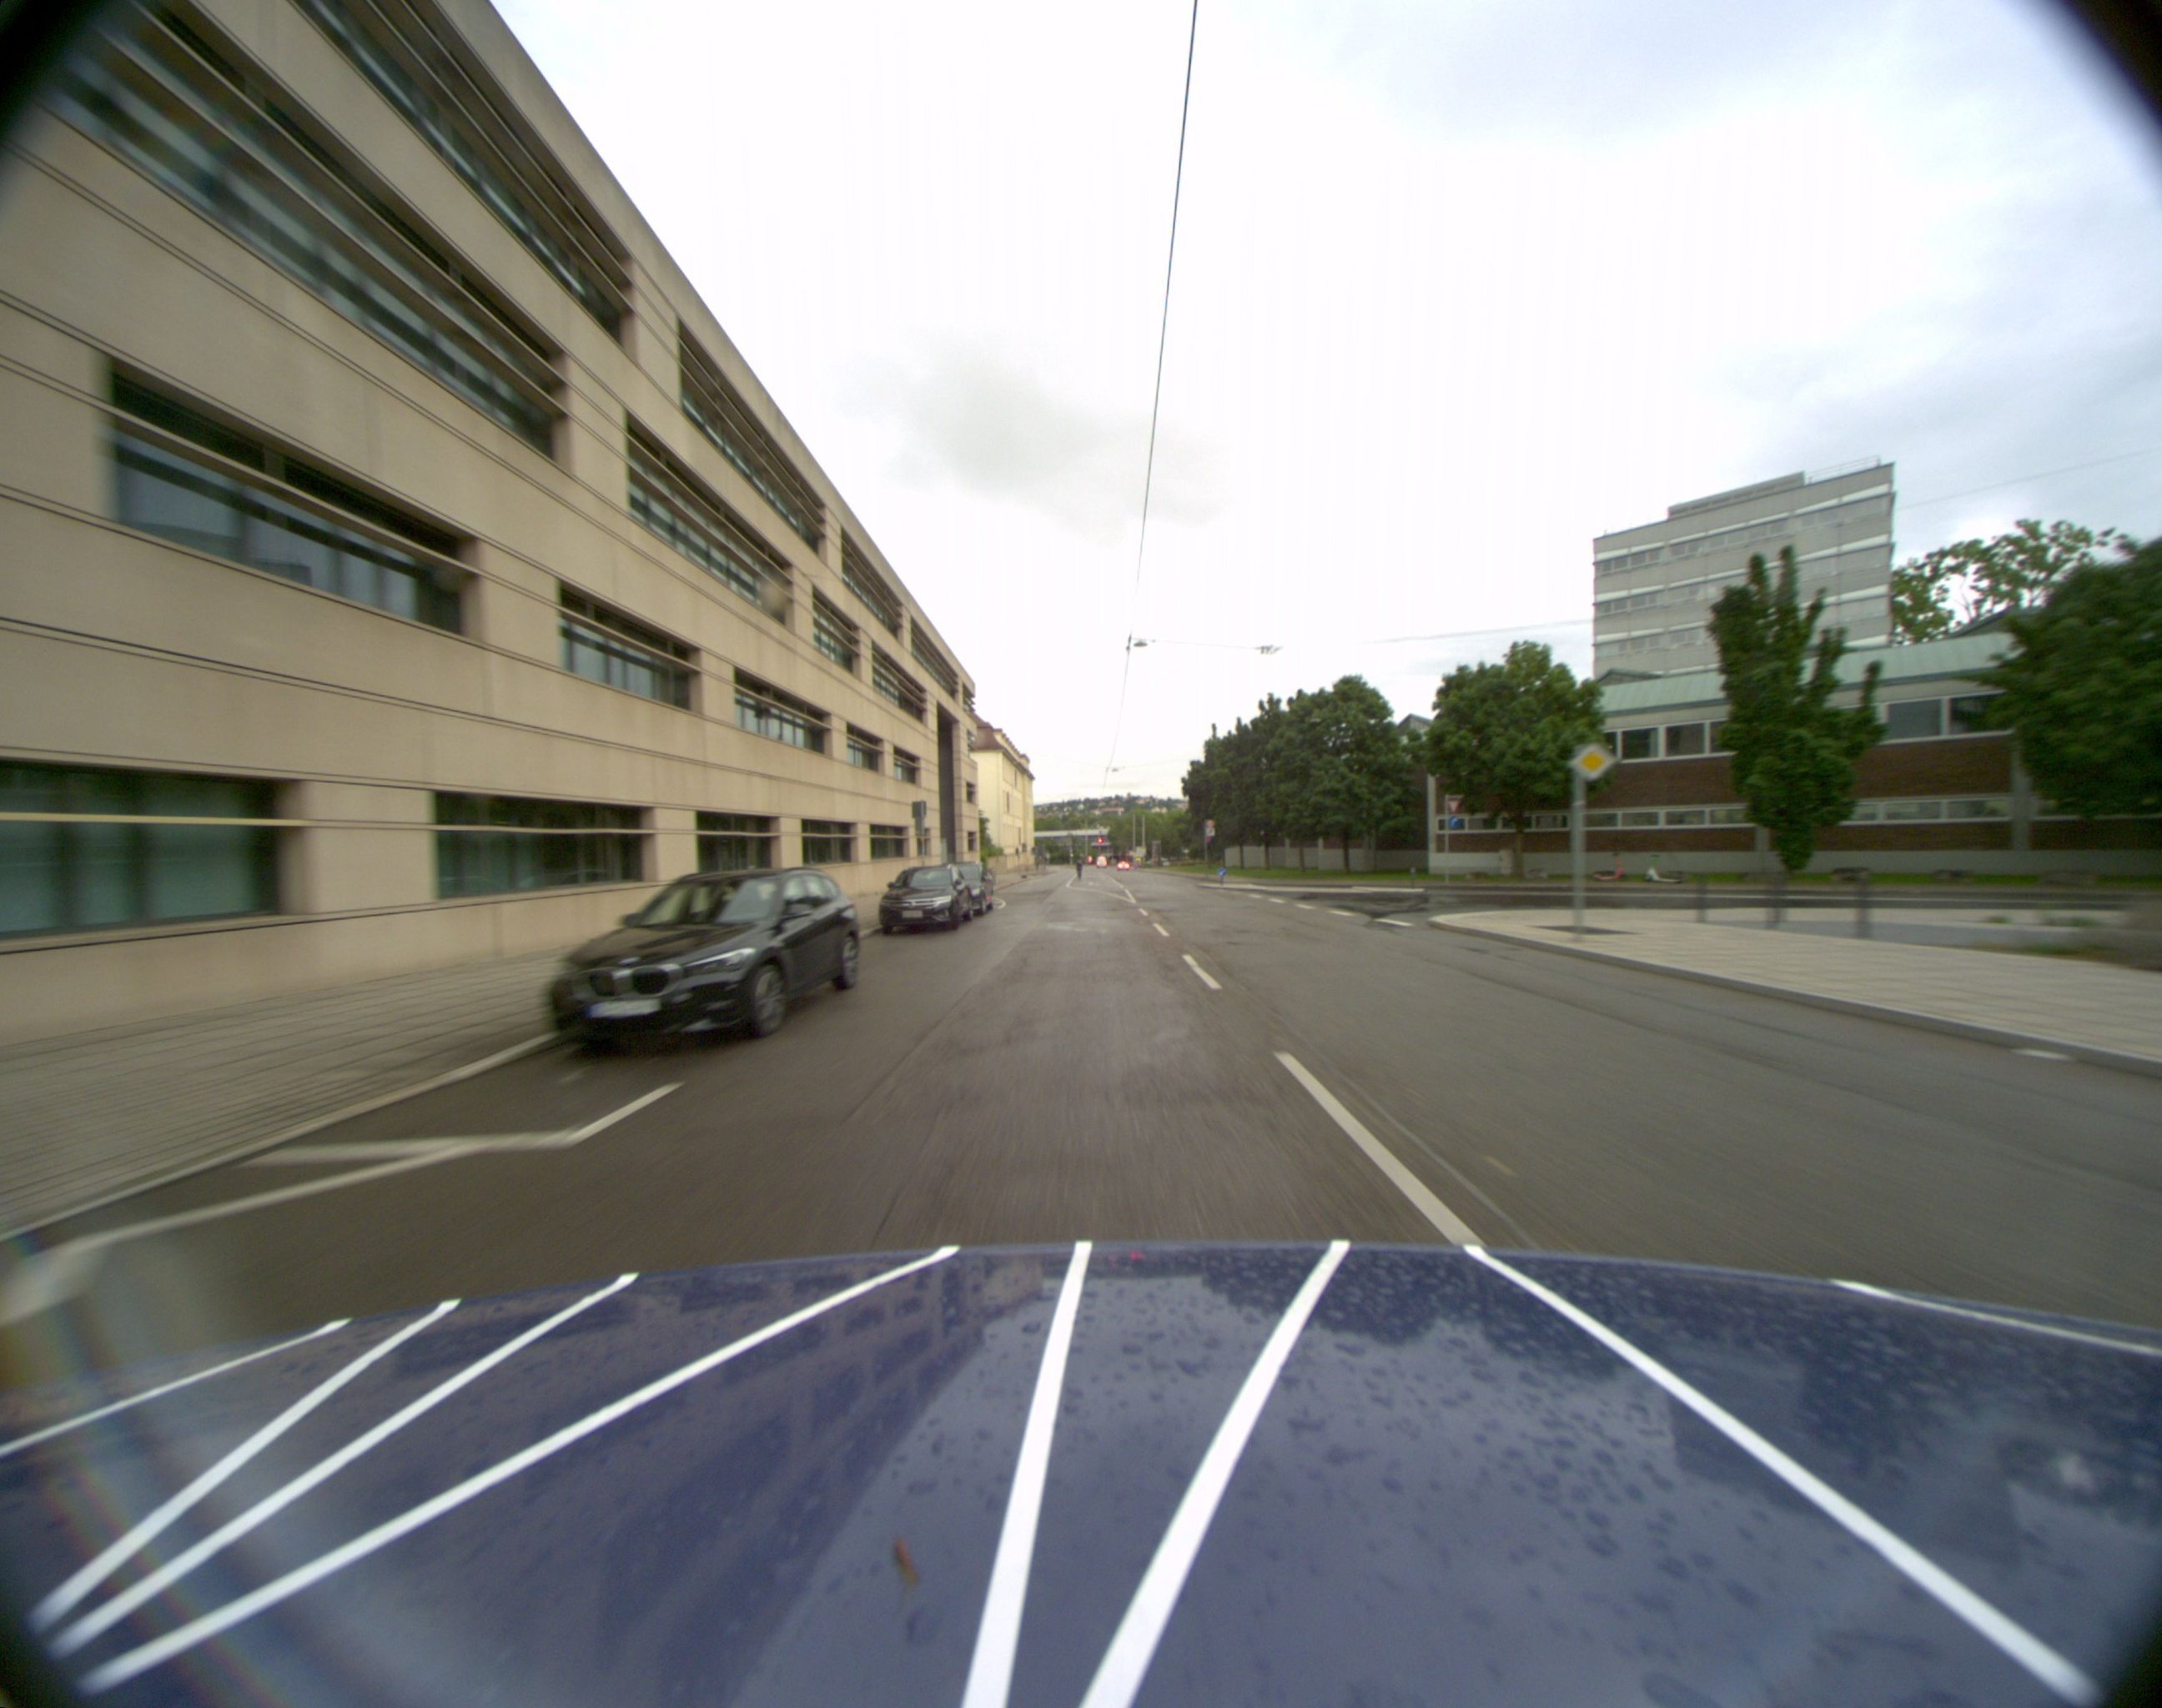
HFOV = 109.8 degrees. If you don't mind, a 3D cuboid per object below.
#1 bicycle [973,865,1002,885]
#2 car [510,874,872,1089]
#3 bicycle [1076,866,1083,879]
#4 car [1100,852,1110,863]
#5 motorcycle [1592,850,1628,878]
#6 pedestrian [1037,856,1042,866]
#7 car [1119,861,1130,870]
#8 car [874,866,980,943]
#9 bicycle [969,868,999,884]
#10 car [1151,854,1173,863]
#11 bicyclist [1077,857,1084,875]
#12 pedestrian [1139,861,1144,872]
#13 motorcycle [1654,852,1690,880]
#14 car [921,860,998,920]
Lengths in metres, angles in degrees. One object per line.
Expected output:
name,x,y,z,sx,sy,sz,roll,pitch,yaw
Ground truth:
bicycle,-5.807,1.307,47.272,1.734,1.112,0.659,-2,1,-5
car,-3.785,1.104,8.392,1.748,1.524,4.318,-3,1,-1
bicycle,-0.104,1.505,61.813,0.448,0.957,1.690,-2,0,3
car,5.723,0.876,178.888,1.988,2.514,5.631,-1,0,-2
motorcycle,22.615,0.426,32.480,1.224,1.178,0.414,-2,1,38
pedestrian,-7.428,1.180,136.402,0.671,1.787,0.852,-1,1,2
car,7.852,2.019,137.534,1.886,1.482,5.221,0,0,3
car,-3.756,1.167,19.228,1.730,1.504,4.057,-4,1,0
bicycle,-6.150,1.374,48.257,1.763,0.947,0.659,-2,1,-3
car,15.774,0.817,148.522,1.871,1.600,4.515,-3,1,-33
bicyclist,-0.058,0.939,61.671,0.485,1.425,0.930,-3,1,3
pedestrian,9.709,2.040,121.273,0.671,1.677,0.914,-2,1,8
motorcycle,24.144,0.499,31.061,1.167,1.118,0.414,0,3,38
car,-3.781,1.080,24.370,1.775,1.594,4.393,-3,1,-1
